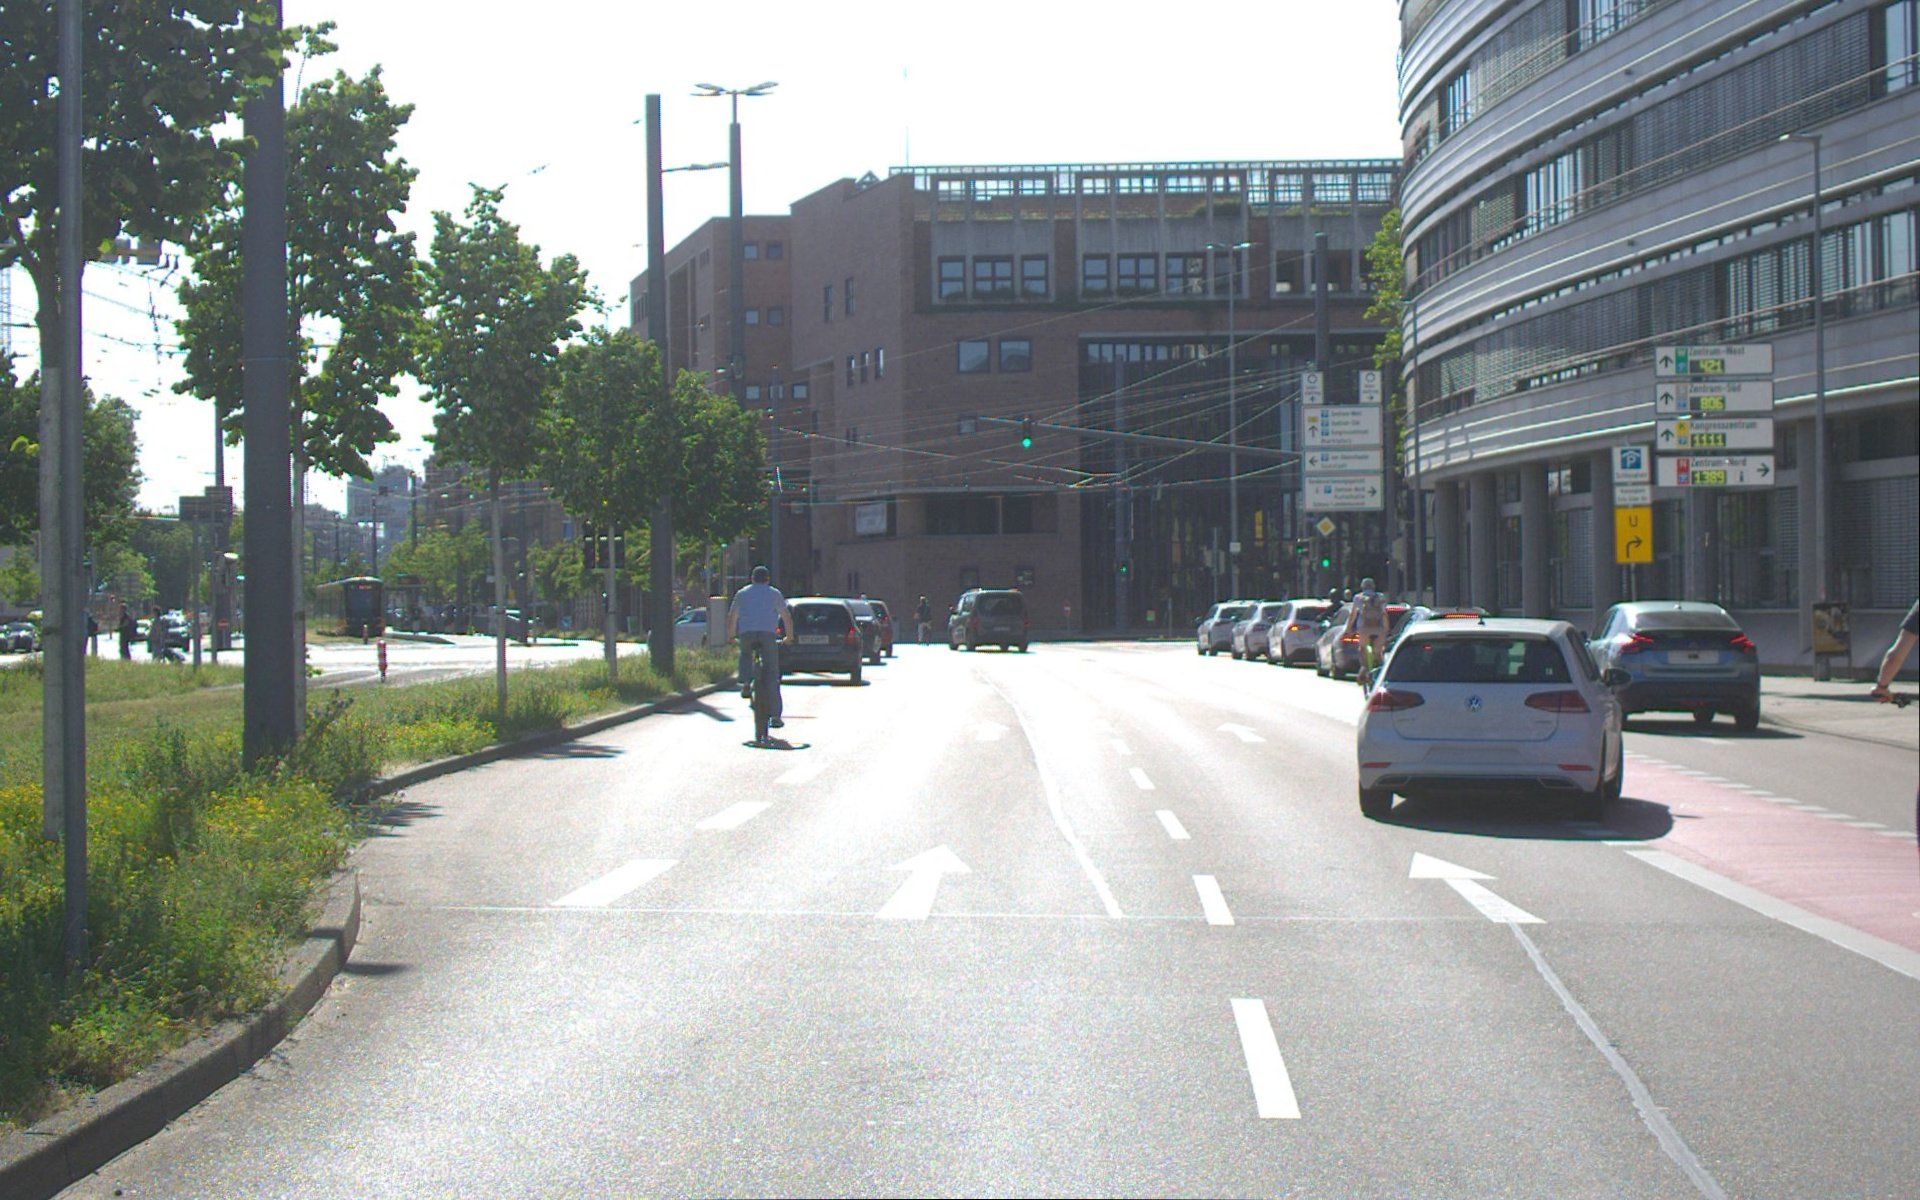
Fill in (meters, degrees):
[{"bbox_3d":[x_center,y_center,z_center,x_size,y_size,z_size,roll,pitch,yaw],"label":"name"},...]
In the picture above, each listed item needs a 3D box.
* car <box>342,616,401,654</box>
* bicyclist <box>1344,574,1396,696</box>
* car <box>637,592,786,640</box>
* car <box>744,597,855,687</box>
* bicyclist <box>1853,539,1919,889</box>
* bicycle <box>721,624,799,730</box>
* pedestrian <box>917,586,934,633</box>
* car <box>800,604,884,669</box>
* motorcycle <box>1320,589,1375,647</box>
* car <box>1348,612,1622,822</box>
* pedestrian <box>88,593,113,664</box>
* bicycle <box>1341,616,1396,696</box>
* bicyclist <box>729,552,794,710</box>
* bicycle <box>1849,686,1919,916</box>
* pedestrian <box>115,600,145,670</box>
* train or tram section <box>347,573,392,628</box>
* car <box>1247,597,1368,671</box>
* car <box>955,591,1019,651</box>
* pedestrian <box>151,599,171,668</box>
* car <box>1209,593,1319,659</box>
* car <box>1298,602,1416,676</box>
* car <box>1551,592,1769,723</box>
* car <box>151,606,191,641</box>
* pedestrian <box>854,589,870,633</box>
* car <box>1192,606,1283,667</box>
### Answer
[{"bbox_3d":[-27.583,1.627,161.085,2.261,1.721,3.945,-1,0,-17],"label":"car"},{"bbox_3d":[5.959,0.498,49.961,0.649,1.746,1.045,-1,1,2],"label":"bicyclist"},{"bbox_3d":[-7.540,0.498,104.148,4.409,1.377,2.062,-1,0,44],"label":"car"},{"bbox_3d":[-2.856,0.730,61.883,1.726,1.559,3.677,-1,0,1],"label":"car"},{"bbox_3d":[4.959,0.556,17.100,0.806,1.687,1.051,1,0,5],"label":"bicyclist"},{"bbox_3d":[-2.132,0.804,36.971,0.686,1.066,2.697,1,0,0],"label":"bicycle"},{"bbox_3d":[-1.223,0.332,122.701,0.478,1.651,0.491,-1,0,-18],"label":"pedestrian"},{"bbox_3d":[-2.766,0.824,79.725,1.726,1.444,4.522,-1,0,-4],"label":"car"},{"bbox_3d":[8.190,0.392,72.792,0.829,1.197,2.390,1,0,-2],"label":"motorcycle"},{"bbox_3d":[4.039,0.817,25.968,1.773,1.398,4.291,2,0,12],"label":"car"},{"bbox_3d":[-22.111,0.726,88.404,0.460,1.825,0.458,-1,0,-39],"label":"pedestrian"},{"bbox_3d":[5.973,0.807,50.335,0.649,1.106,1.758,-1,1,2],"label":"bicycle"},{"bbox_3d":[-2.127,0.326,36.855,0.617,1.664,1.020,1,0,0],"label":"bicyclist"},{"bbox_3d":[5.007,0.977,17.063,0.826,1.033,1.891,1,0,5],"label":"bicycle"},{"bbox_3d":[-21.573,0.906,89.400,0.580,1.825,0.498,-1,0,-39],"label":"pedestrian"},{"bbox_3d":[-33.999,0.023,197.658,2.326,2.993,13.163,-1,0,-11],"label":"train or tram section"},{"bbox_3d":[7.955,0.764,79.014,1.906,1.578,4.139,1,0,-6],"label":"car"},{"bbox_3d":[0.789,0.607,102.178,1.782,1.697,4.138,1,0,-1],"label":"car"},{"bbox_3d":[-21.345,0.901,91.846,0.385,1.825,0.464,-1,0,-32],"label":"pedestrian"},{"bbox_3d":[7.511,0.630,85.279,1.906,1.536,4.139,1,0,-6],"label":"car"},{"bbox_3d":[7.783,0.740,67.693,1.721,1.391,4.788,0,0,0],"label":"car"},{"bbox_3d":[8.528,0.664,42.215,1.721,1.519,4.399,0,0,-1],"label":"car"},{"bbox_3d":[-34.777,1.023,151.467,1.609,1.393,3.920,-4,1,-13],"label":"car"},{"bbox_3d":[-3.509,0.397,123.391,0.478,1.573,0.414,-1,0,-18],"label":"pedestrian"},{"bbox_3d":[7.604,0.989,94.626,1.906,1.578,4.138,1,0,-3],"label":"car"}]
